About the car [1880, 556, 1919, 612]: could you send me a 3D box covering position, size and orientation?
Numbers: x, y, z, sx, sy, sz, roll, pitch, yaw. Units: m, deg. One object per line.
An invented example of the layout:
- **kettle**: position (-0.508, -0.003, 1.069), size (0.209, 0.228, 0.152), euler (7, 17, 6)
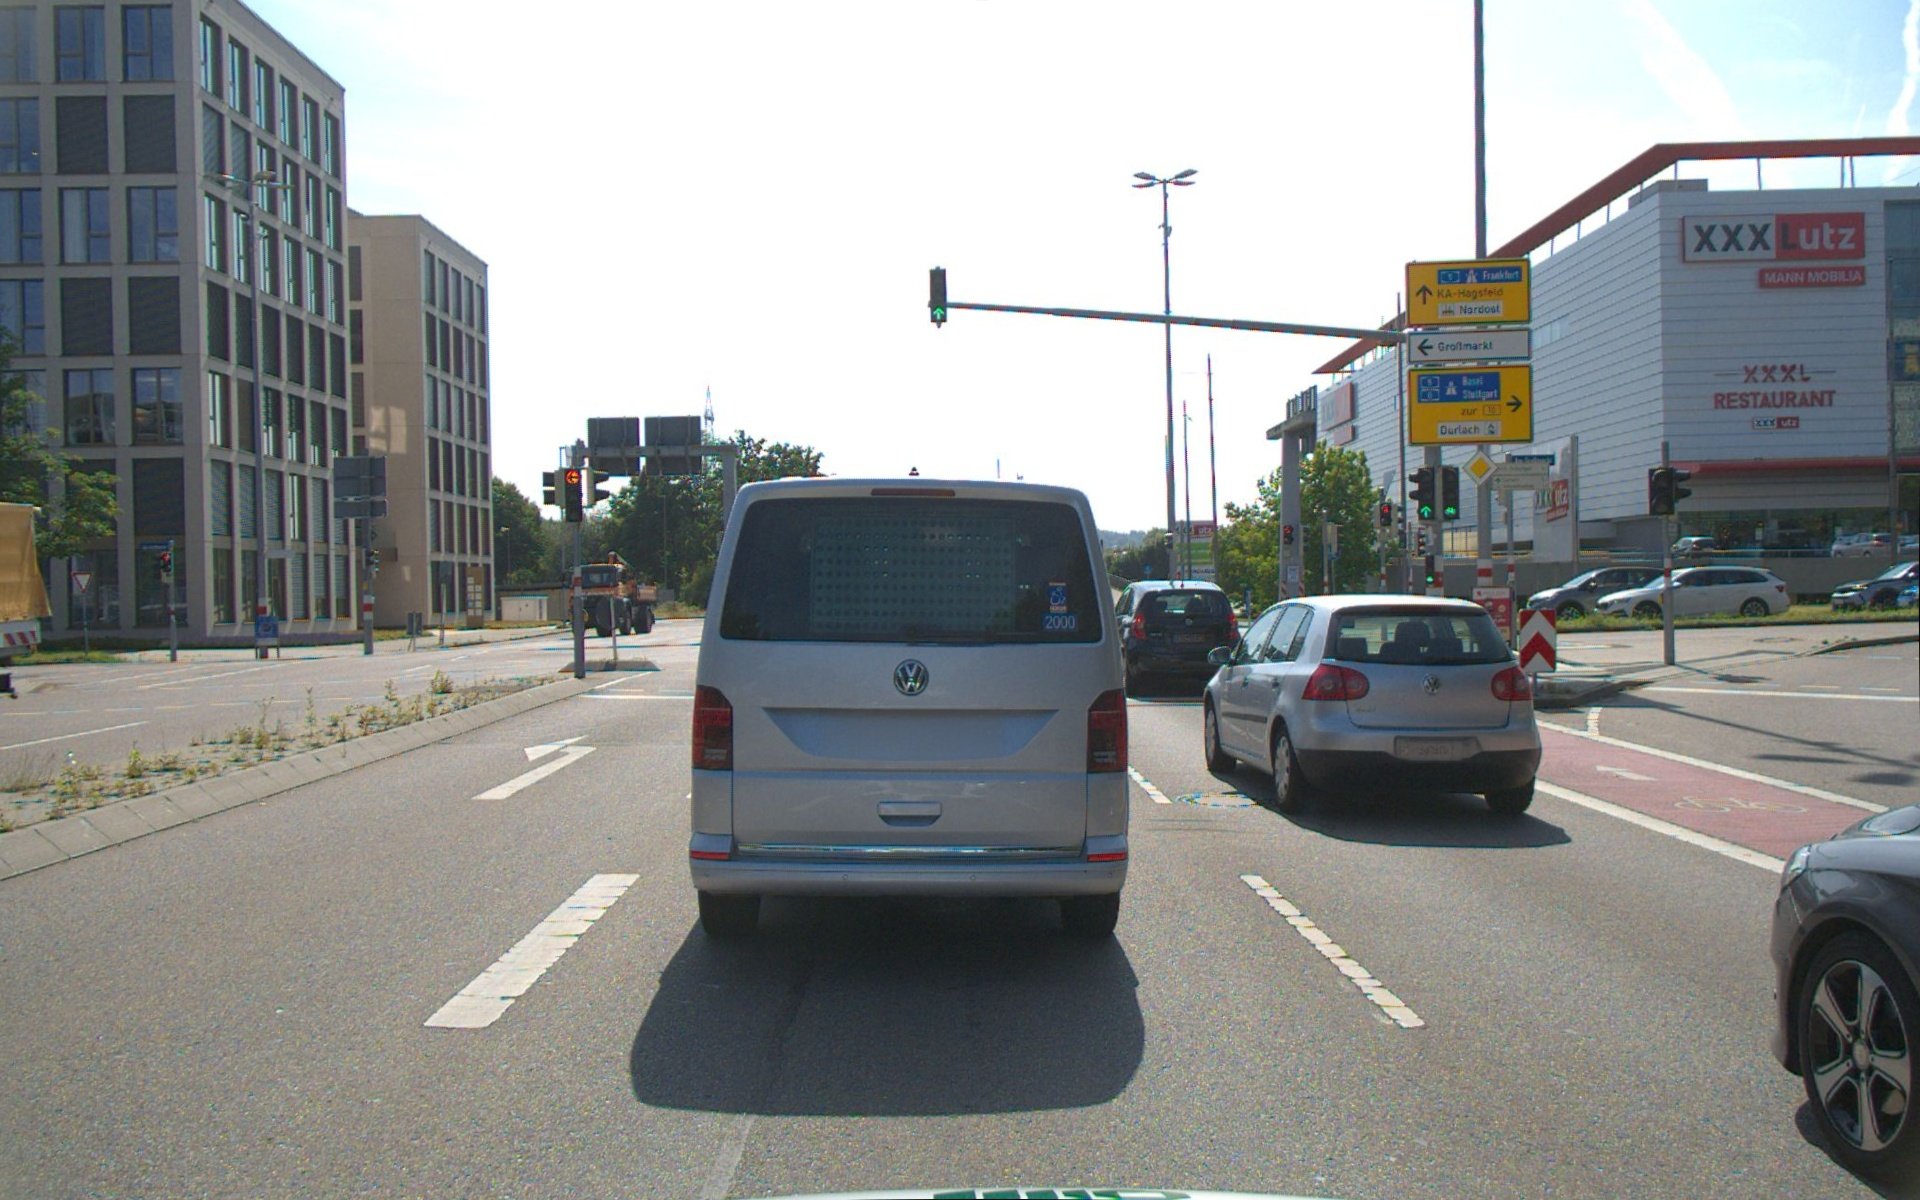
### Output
- **car**: position (25.481, -0.430, 41.375), size (3.960, 1.365, 1.724), euler (-1, 0, 1)

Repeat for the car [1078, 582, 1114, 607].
- **car**: position (8.338, -0.317, 101.338), size (1.502, 1.463, 3.241), euler (-1, 0, -8)

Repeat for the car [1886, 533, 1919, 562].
- **car**: position (51.451, -2.817, 88.285), size (1.794, 1.444, 4.201), euler (-1, 0, 2)

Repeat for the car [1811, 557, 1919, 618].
- **car**: position (25.333, -0.357, 44.428), size (3.945, 1.535, 1.909), euler (-2, -1, 2)

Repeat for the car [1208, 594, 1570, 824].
- **car**: position (2.989, 0.680, 12.280), size (1.633, 1.439, 3.681), euler (0, 0, -2)

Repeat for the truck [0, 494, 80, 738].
- **truck**: position (-11.609, 0.247, 16.436), size (2.328, 2.670, 6.669), euler (-3, 1, -3)

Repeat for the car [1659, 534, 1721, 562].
- **car**: position (41.530, -2.933, 94.203), size (1.734, 1.444, 4.201), euler (-1, 0, 2)

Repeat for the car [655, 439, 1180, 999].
- **car**: position (-0.189, 0.416, 8.113), size (1.878, 2.010, 4.296), euler (0, 0, -1)

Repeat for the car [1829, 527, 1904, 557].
- **car**: position (48.758, -3.108, 88.998), size (1.762, 1.444, 4.007), euler (-1, 0, -1)

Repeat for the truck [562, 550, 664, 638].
- **truck**: position (-15.781, -0.312, 75.821), size (2.689, 3.744, 7.582), euler (-2, 0, 3)

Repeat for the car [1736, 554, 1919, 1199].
- **car**: position (3.226, 0.687, 2.854), size (1.738, 1.566, 4.136), euler (0, 1, -2)

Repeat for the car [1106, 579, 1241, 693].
- **car**: position (2.983, 0.463, 23.690), size (1.499, 1.505, 3.596), euler (0, 0, 0)

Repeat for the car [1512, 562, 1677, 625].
- **car**: position (17.223, -0.183, 45.007), size (3.803, 1.585, 1.809), euler (-1, 0, 3)

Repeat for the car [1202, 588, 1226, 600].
- **car**: position (33.404, -0.809, 217.347), size (1.957, 1.445, 3.991), euler (1, -1, -9)

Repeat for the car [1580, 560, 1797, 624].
- **car**: position (18.406, -0.187, 41.971), size (4.618, 1.450, 1.959), euler (-2, -1, 2)
